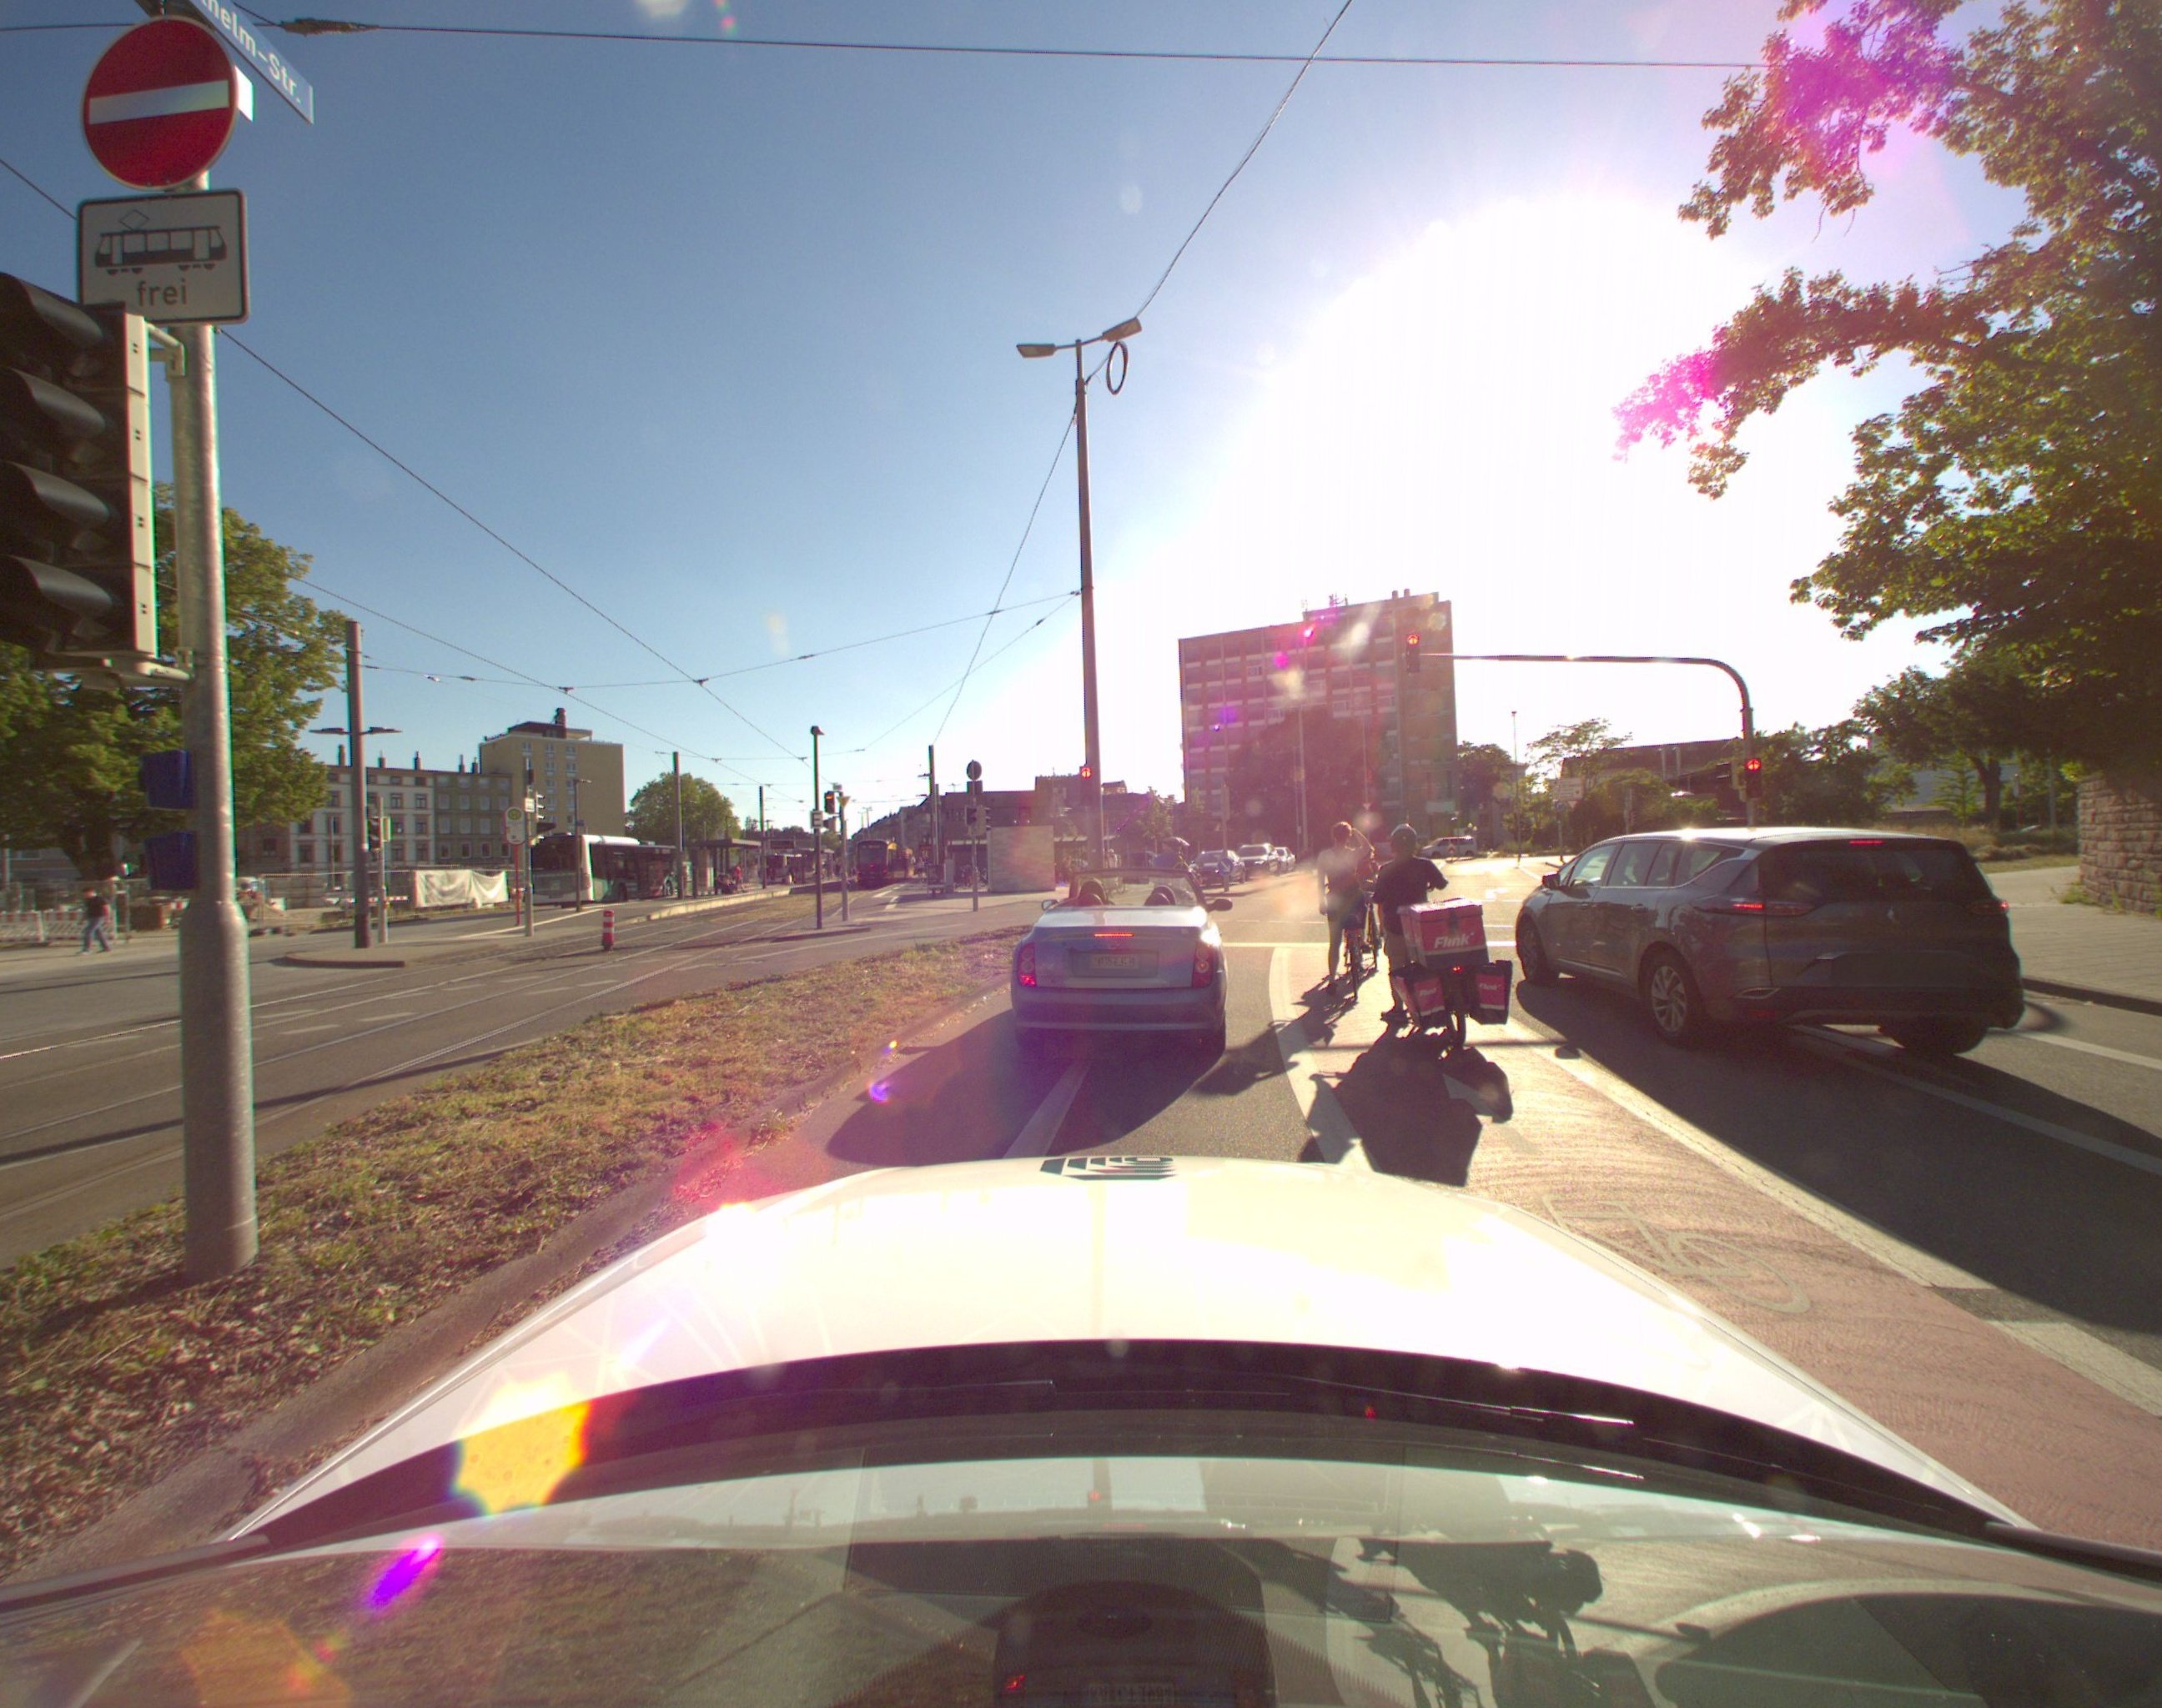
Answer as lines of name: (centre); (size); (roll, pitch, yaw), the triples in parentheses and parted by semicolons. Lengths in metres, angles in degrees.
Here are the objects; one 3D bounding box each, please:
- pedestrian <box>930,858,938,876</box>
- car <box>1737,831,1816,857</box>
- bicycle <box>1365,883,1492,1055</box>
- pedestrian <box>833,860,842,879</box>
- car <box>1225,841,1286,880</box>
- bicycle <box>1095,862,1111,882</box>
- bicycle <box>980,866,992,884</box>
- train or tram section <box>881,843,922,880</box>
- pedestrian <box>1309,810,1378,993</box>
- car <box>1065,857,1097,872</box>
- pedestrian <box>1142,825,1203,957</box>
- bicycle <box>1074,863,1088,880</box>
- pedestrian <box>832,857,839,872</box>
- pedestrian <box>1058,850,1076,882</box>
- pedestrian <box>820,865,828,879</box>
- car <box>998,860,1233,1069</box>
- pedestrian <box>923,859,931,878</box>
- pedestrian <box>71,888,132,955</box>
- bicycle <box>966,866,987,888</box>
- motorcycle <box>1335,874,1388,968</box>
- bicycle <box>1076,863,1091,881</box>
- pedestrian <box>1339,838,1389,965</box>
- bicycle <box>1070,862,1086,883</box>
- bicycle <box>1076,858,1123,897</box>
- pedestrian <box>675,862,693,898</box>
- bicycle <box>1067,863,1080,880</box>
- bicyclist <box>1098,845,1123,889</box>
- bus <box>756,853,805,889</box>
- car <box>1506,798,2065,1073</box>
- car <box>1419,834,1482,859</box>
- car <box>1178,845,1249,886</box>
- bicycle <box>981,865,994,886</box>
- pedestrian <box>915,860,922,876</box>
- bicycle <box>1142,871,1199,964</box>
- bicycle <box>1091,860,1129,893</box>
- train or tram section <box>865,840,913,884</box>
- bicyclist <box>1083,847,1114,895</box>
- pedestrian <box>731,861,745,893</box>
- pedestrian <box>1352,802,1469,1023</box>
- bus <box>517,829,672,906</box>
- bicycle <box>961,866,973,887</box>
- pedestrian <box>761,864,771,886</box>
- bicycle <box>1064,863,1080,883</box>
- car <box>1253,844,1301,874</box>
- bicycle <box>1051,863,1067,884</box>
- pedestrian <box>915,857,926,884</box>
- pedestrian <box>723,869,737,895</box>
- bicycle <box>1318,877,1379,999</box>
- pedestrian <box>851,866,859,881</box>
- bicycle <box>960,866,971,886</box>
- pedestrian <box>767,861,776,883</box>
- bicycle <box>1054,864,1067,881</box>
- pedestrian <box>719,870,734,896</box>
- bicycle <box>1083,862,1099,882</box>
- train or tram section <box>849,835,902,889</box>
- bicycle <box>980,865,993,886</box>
pedestrian: (-14.197, 1.282, 78.805); (0.639, 1.749, 0.732); (-2, -1, -17)
car: (56.845, -0.790, 66.691); (4.645, 1.945, 1.927); (-3, -1, 35)
bicycle: (2.933, 0.872, 7.093); (0.550, 1.171, 2.380); (-1, -1, 12)
pedestrian: (-23.250, 1.501, 77.735); (0.641, 1.749, 0.567); (-2, -1, -25)
car: (8.558, 0.257, 39.667); (1.745, 1.706, 4.557); (-4, -1, 26)
bicycle: (1.238, 1.006, 45.678); (0.606, 1.115, 1.892); (0, -1, -7)
bicycle: (-5.902, 1.286, 50.623); (0.607, 1.115, 1.890); (0, -1, -10)
train or tram section: (-18.601, 0.812, 85.227); (3.037, 3.597, 12.021); (0, 0, -7)
pedestrian: (2.835, 0.489, 8.837); (0.654, 1.869, 0.876); (-1, -1, 17)
car: (-0.031, 1.176, 88.862); (1.653, 1.560, 3.559); (-2, 0, -37)
pedestrian: (1.368, 0.526, 12.056); (0.828, 1.869, 0.923); (-1, -1, 10)
bicycle: (-0.031, 1.132, 53.389); (0.607, 1.115, 1.890); (0, -1, -10)
pedestrian: (-30.095, 1.319, 99.789); (0.735, 1.749, 0.637); (-2, -1, -14)
pedestrian: (-0.797, 0.688, 46.945); (0.901, 1.869, 0.684); (0, -1, -11)
pedestrian: (-31.454, 2.211, 99.562); (0.732, 1.749, 0.638); (-2, -1, -6)
car: (0.548, 0.782, 7.795); (1.650, 1.441, 4.164); (-1, -1, 9)
pedestrian: (-14.813, 1.381, 78.275); (0.639, 1.749, 0.732); (-2, -1, -17)
pedestrian: (-26.212, 1.800, 21.809); (0.712, 1.697, 0.893); (-3, -2, -25)
bicycle: (-5.467, 1.202, 42.734); (0.603, 1.115, 1.901); (0, -1, 8)
motorcycle: (3.826, 0.844, 11.103); (0.608, 1.097, 2.371); (-1, -1, 19)
bicycle: (0.130, 1.137, 51.412); (0.607, 1.115, 1.890); (0, -1, -10)
pedestrian: (3.769, 0.605, 10.844); (0.583, 1.598, 1.030); (-1, -1, 19)
bicycle: (-0.180, 1.014, 45.410); (0.607, 1.115, 1.890); (0, -1, -10)
bicycle: (0.674, 0.810, 28.968); (0.668, 1.250, 2.471); (-5, -1, 24)
pedestrian: (-19.622, 1.271, 40.263); (0.536, 1.749, 0.559); (-2, -1, -4)
bicycle: (-0.558, 1.204, 56.910); (0.607, 1.115, 1.890); (0, -1, -10)
bicyclist: (1.146, 0.489, 31.600); (0.702, 1.657, 0.747); (-3, -1, 24)
bus: (-29.669, 1.586, 80.947); (2.723, 3.274, 13.409); (0, -1, -12)
car: (5.539, 0.522, 7.319); (1.820, 1.689, 4.381); (-1, -1, 10)
car: (32.929, -0.655, 72.675); (4.674, 1.945, 1.915); (-2, 0, 1)
car: (5.546, 0.468, 33.641); (1.720, 1.574, 3.948); (-1, -1, 28)
bicycle: (-5.375, 1.224, 46.733); (0.607, 1.115, 1.890); (0, -1, -10)
pedestrian: (-18.073, 1.530, 90.534); (0.604, 1.749, 0.830); (-2, -1, -6)
bicycle: (1.356, 0.865, 11.986); (0.604, 1.191, 2.422); (-1, -1, 12)
bicycle: (1.153, 0.846, 31.571); (0.668, 1.180, 2.195); (-3, 0, 24)
train or tram section: (-17.067, 0.704, 73.256); (3.010, 3.597, 12.165); (0, -1, -8)
bicyclist: (0.627, 0.595, 28.902); (0.702, 1.657, 0.906); (-5, -2, 24)
pedestrian: (-19.112, 1.274, 45.338); (0.571, 1.749, 0.636); (-2, -1, -15)
pedestrian: (2.976, 0.502, 7.446); (0.801, 1.869, 0.959); (-1, -1, 10)
bus: (-22.371, 0.572, 38.221); (2.652, 3.135, 9.617); (0, -1, -8)
bicycle: (-6.213, 1.231, 44.358); (0.607, 1.115, 1.890); (0, -1, -10)
pedestrian: (-25.107, 1.692, 64.839); (0.641, 1.749, 0.567); (-2, -1, -25)
bicycle: (-0.543, 1.092, 47.351); (0.607, 1.115, 1.890); (0, -1, -10)
car: (11.165, 0.251, 46.215); (1.678, 1.560, 4.004); (-3, 0, 28)
bicycle: (-1.254, 1.081, 45.294); (0.607, 1.115, 1.890); (0, -1, -10)
pedestrian: (-10.696, 1.101, 54.273); (0.639, 1.749, 0.569); (-2, -1, -17)
pedestrian: (-18.733, 1.473, 43.462); (0.571, 1.346, 0.636); (-2, -1, -15)
bicycle: (2.932, 0.856, 9.020); (0.559, 1.151, 1.958); (-1, -1, 17)
pedestrian: (-28.356, 2.454, 102.284); (0.732, 1.749, 0.638); (-2, -1, -6)
bicycle: (-6.561, 1.250, 46.292); (0.606, 1.115, 1.891); (0, -1, -8)
pedestrian: (-25.597, 1.504, 67.282); (0.571, 1.749, 0.636); (-2, -1, -17)
bicycle: (-1.347, 1.193, 53.213); (0.607, 1.115, 1.890); (0, -1, -10)
pedestrian: (-18.604, 1.520, 42.775); (0.617, 1.340, 0.438); (-2, -1, -15)
bicycle: (0.556, 1.055, 47.713); (0.607, 1.115, 1.890); (0, -1, -10)
train or tram section: (-15.262, 0.581, 61.214); (2.881, 3.597, 12.158); (0, -1, -10)
bicycle: (-5.178, 1.192, 44.664); (0.607, 1.115, 1.890); (0, -1, -10)
